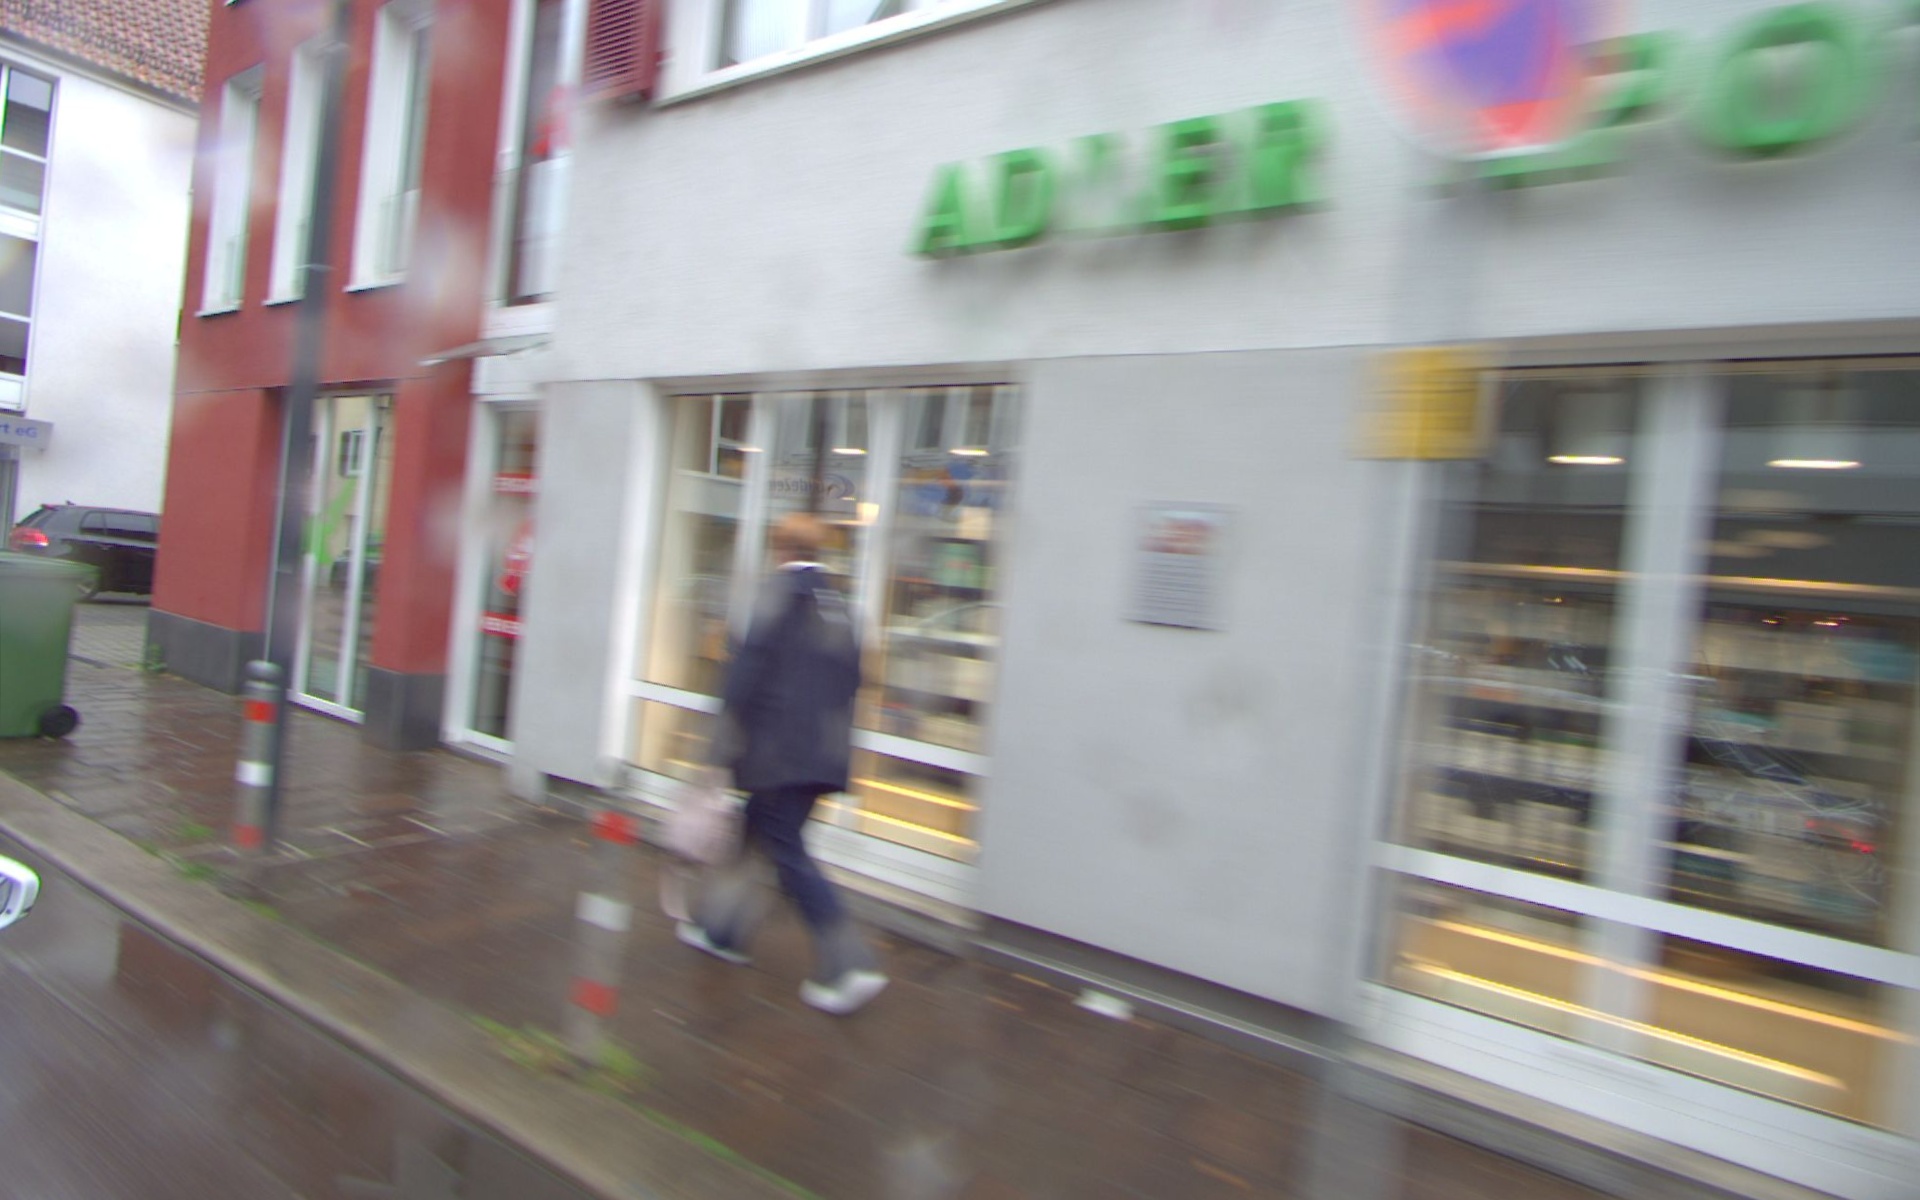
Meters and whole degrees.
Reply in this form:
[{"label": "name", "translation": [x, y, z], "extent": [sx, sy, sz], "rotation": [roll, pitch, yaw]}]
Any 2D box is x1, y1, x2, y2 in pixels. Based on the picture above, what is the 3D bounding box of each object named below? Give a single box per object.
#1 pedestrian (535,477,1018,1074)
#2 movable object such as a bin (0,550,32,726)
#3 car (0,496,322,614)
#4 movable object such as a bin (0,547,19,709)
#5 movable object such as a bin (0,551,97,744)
[{"label": "pedestrian", "translation": [-0.627, 0.508, 3.725], "extent": [1.157, 1.719, 1.179], "rotation": [6, 1, 28]}, {"label": "movable object such as a bin", "translation": [-6.460, 0.207, 6.339], "extent": [0.686, 1.097, 0.677], "rotation": [5, 0, 32]}, {"label": "car", "translation": [-13.175, -0.670, 16.684], "extent": [1.886, 1.533, 3.978], "rotation": [4, -1, 41]}, {"label": "movable object such as a bin", "translation": [-7.006, 0.153, 6.831], "extent": [0.604, 1.108, 0.711], "rotation": [5, 0, 32]}, {"label": "movable object such as a bin", "translation": [-5.791, 0.264, 6.042], "extent": [0.706, 1.100, 0.677], "rotation": [5, 0, 32]}]
